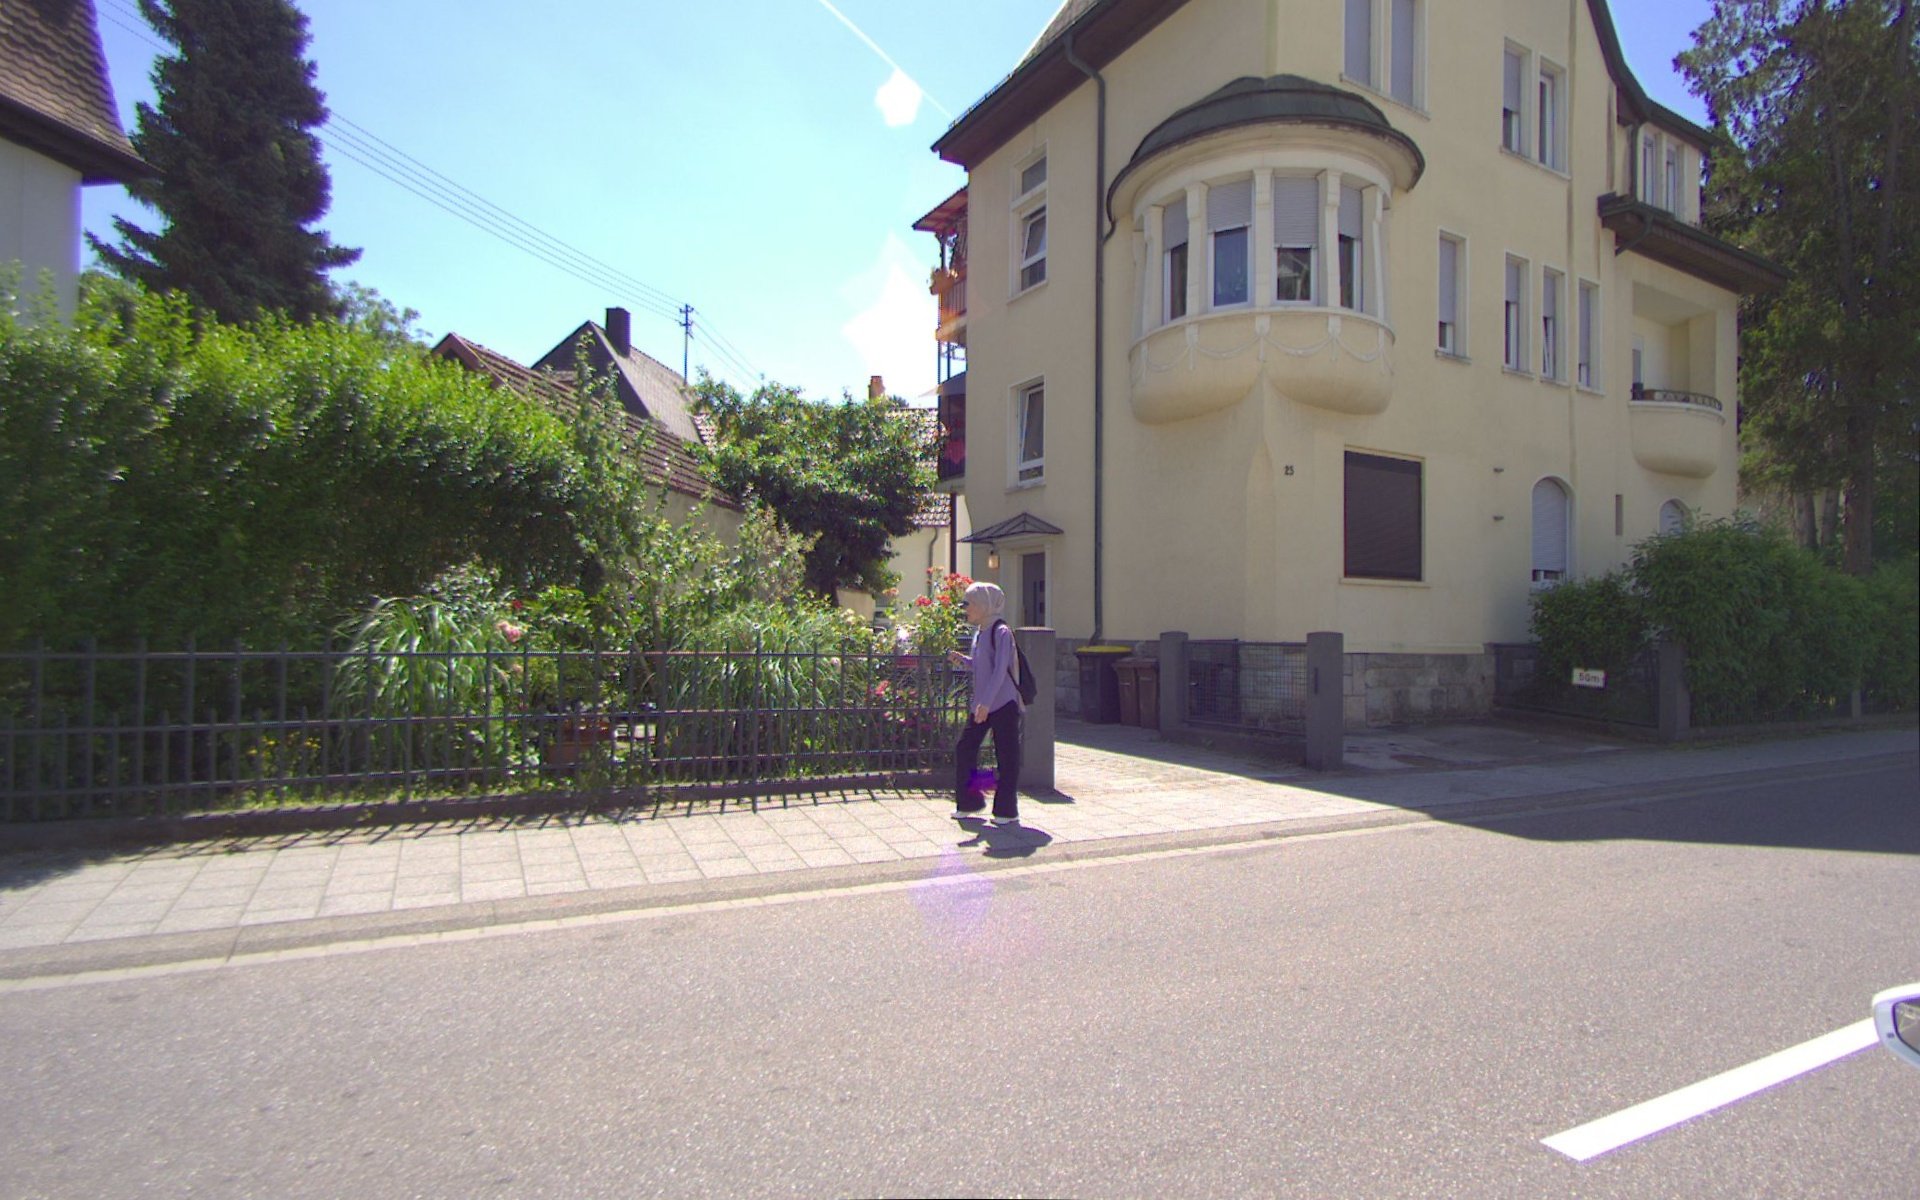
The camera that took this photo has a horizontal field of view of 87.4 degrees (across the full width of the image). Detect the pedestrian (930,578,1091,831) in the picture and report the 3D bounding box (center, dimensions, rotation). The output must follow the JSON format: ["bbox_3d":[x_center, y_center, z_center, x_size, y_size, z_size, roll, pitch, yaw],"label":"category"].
[{"bbox_3d":[0.337,0.674,6.852,0.814,1.586,0.610,1,4,-30],"label":"pedestrian"}]

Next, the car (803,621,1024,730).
[{"bbox_3d":[-0.842,1.050,15.130,1.845,1.398,3.972,1,-2,-27],"label":"car"}]
